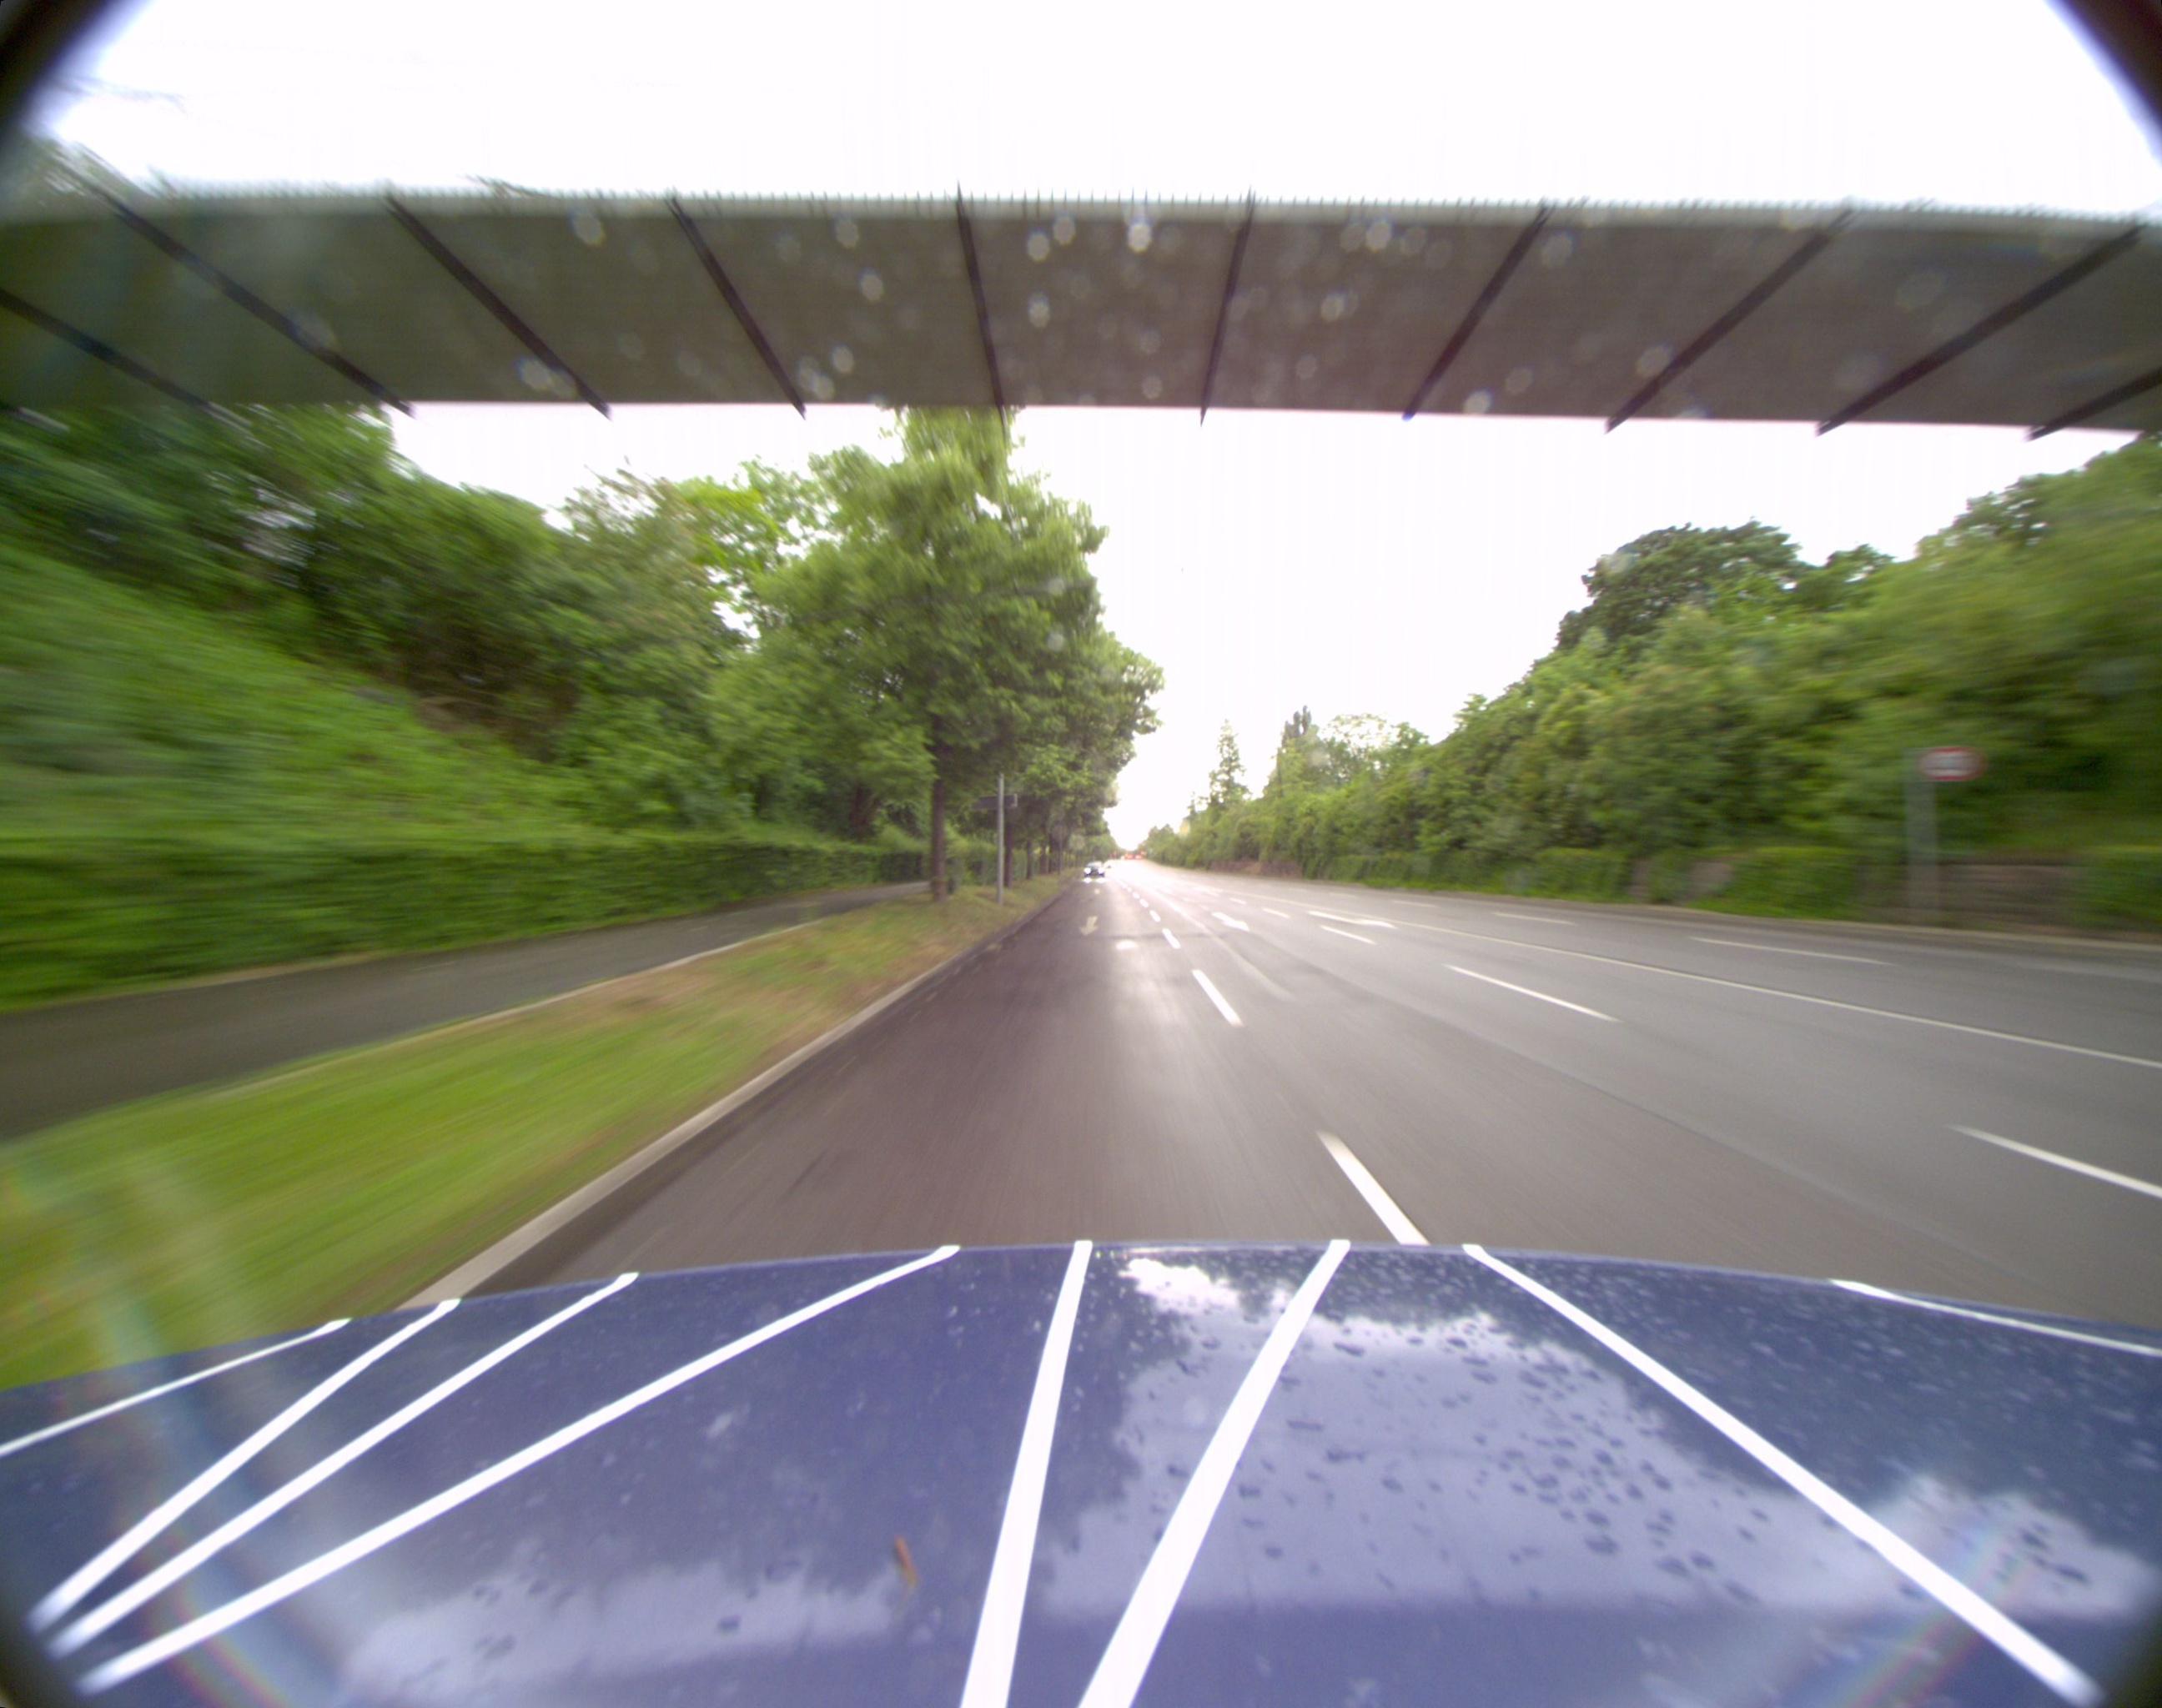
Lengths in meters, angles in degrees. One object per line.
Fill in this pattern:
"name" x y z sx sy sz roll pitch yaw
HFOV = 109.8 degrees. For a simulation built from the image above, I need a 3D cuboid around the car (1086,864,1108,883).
"car" 1.453 1.687 66.625 1.824 1.547 4.000 -1 1 2
